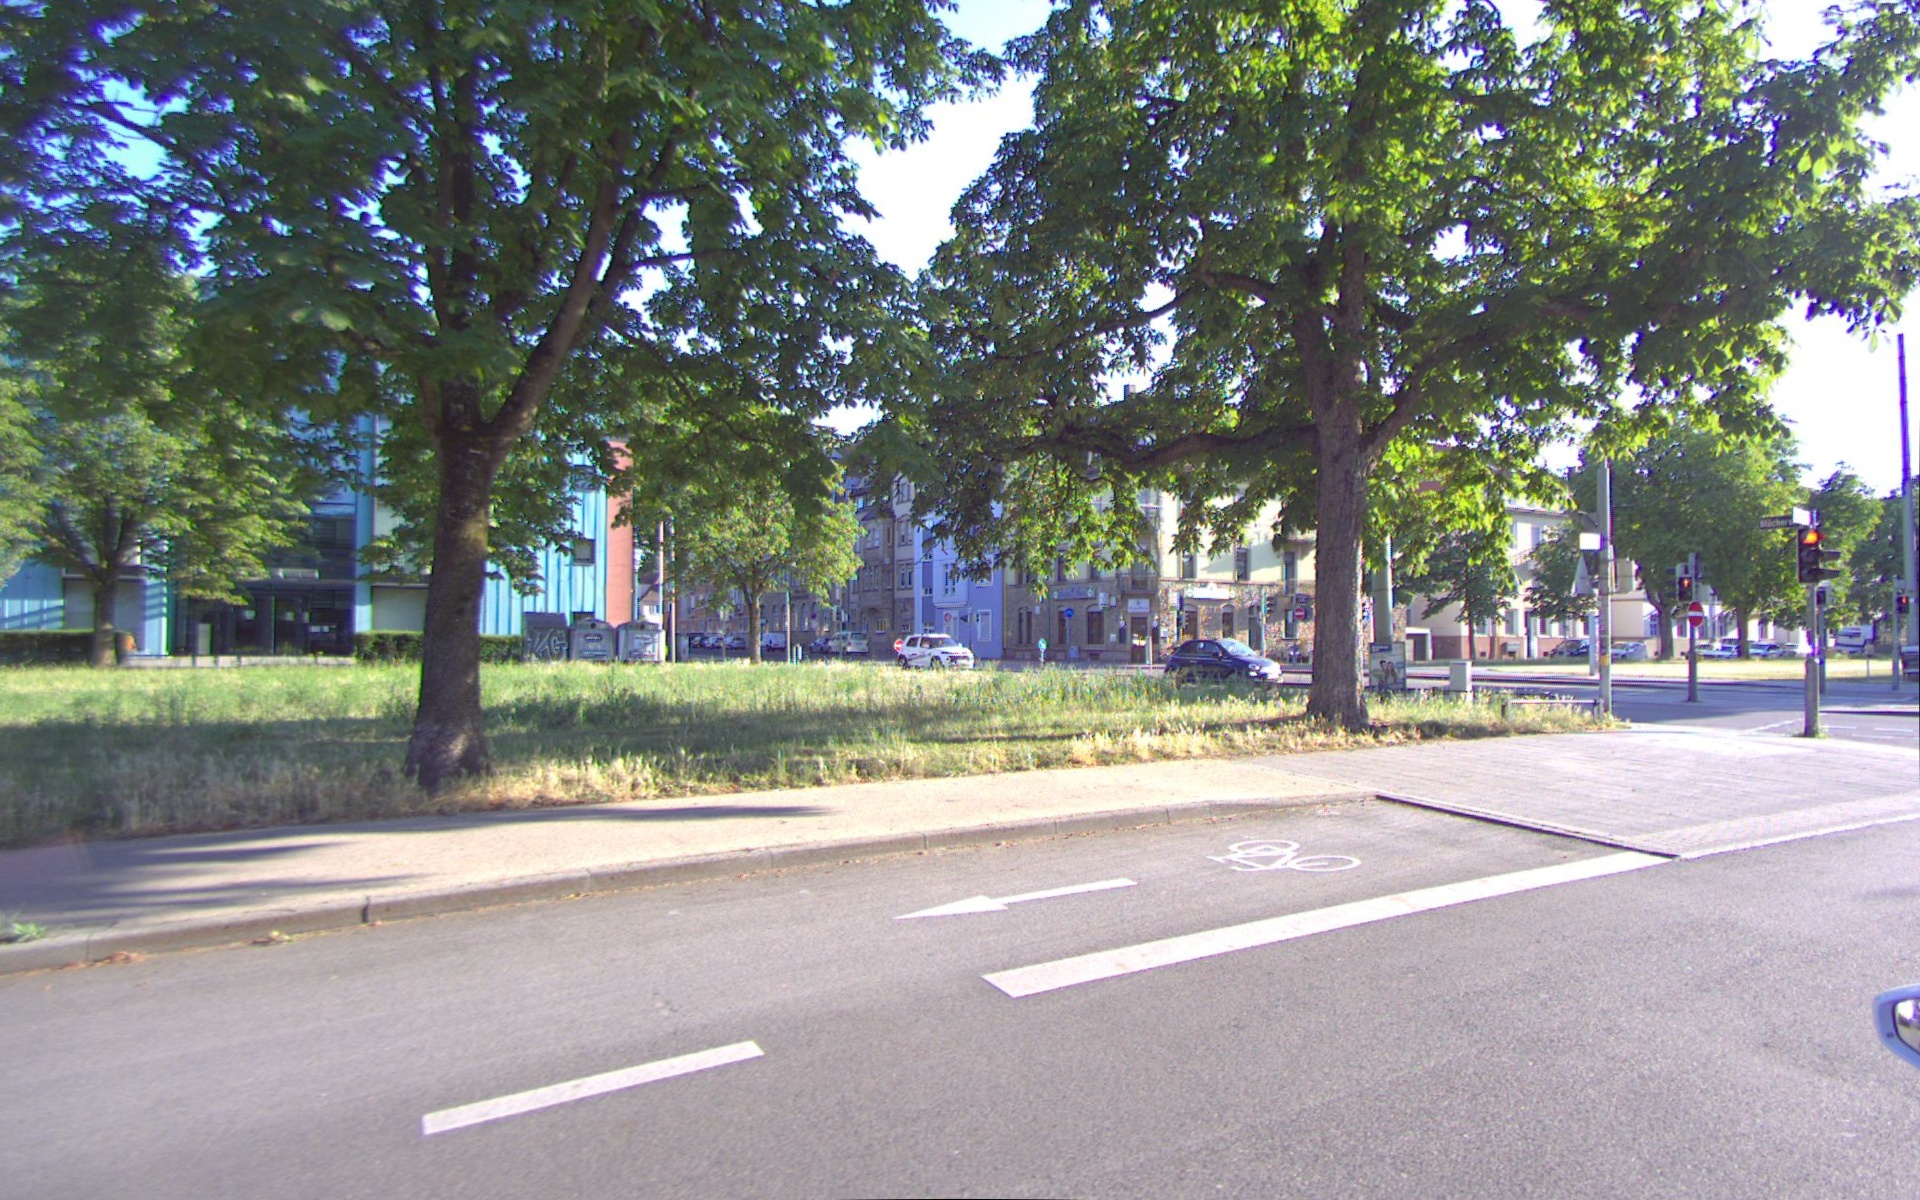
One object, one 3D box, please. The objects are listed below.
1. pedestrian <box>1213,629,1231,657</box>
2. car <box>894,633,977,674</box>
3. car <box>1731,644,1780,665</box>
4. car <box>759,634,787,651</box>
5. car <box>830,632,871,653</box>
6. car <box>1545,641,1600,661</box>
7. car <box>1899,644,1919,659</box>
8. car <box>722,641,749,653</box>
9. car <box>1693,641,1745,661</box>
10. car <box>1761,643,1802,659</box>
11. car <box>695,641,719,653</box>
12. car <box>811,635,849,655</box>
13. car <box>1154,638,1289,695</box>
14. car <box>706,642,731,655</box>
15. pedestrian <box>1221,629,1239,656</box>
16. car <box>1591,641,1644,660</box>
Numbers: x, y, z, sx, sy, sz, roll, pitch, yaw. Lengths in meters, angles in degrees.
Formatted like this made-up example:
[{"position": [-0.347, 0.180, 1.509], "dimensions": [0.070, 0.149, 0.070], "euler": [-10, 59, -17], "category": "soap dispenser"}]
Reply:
[{"position": [15.816, 2.570, 60.552], "dimensions": [0.809, 1.664, 0.718], "euler": [2, -2, -39], "category": "pedestrian"}, {"position": [-1.067, 2.163, 41.538], "dimensions": [1.596, 1.572, 3.840], "euler": [1, -2, -34], "category": "car"}, {"position": [62.092, 4.224, 78.401], "dimensions": [3.746, 1.446, 1.731], "euler": [0, -1, -29], "category": "car"}, {"position": [-18.589, 4.183, 99.809], "dimensions": [1.884, 1.610, 4.021], "euler": [3, -3, -24], "category": "car"}, {"position": [-9.144, 3.539, 83.646], "dimensions": [2.072, 1.612, 4.017], "euler": [3, -3, -26], "category": "car"}, {"position": [46.115, 3.830, 75.659], "dimensions": [3.738, 1.416, 1.734], "euler": [0, -1, -23], "category": "car"}, {"position": [91.756, 4.918, 96.110], "dimensions": [3.746, 1.446, 1.731], "euler": [2, -2, -29], "category": "car"}, {"position": [-24.546, 5.105, 109.677], "dimensions": [1.865, 1.299, 4.016], "euler": [1, -2, -27], "category": "car"}, {"position": [56.901, 3.837, 75.326], "dimensions": [3.746, 1.446, 1.731], "euler": [1, -2, -29], "category": "car"}, {"position": [77.244, 4.759, 94.401], "dimensions": [3.746, 1.446, 1.731], "euler": [2, -2, -29], "category": "car"}, {"position": [-30.157, 5.611, 119.672], "dimensions": [1.865, 1.433, 4.016], "euler": [1, -2, -27], "category": "car"}, {"position": [-11.467, 3.922, 88.175], "dimensions": [2.072, 1.612, 4.017], "euler": [3, -3, -26], "category": "car"}, {"position": [7.574, 1.891, 29.345], "dimensions": [1.599, 1.517, 3.565], "euler": [1, -2, -40], "category": "car"}, {"position": [-27.496, 5.508, 114.402], "dimensions": [1.865, 1.433, 4.016], "euler": [1, -2, -27], "category": "car"}, {"position": [16.503, 2.582, 61.311], "dimensions": [0.715, 1.664, 0.812], "euler": [1, -1, -21], "category": "pedestrian"}, {"position": [51.658, 3.988, 78.863], "dimensions": [3.739, 1.446, 1.734], "euler": [1, -1, -23], "category": "car"}]
